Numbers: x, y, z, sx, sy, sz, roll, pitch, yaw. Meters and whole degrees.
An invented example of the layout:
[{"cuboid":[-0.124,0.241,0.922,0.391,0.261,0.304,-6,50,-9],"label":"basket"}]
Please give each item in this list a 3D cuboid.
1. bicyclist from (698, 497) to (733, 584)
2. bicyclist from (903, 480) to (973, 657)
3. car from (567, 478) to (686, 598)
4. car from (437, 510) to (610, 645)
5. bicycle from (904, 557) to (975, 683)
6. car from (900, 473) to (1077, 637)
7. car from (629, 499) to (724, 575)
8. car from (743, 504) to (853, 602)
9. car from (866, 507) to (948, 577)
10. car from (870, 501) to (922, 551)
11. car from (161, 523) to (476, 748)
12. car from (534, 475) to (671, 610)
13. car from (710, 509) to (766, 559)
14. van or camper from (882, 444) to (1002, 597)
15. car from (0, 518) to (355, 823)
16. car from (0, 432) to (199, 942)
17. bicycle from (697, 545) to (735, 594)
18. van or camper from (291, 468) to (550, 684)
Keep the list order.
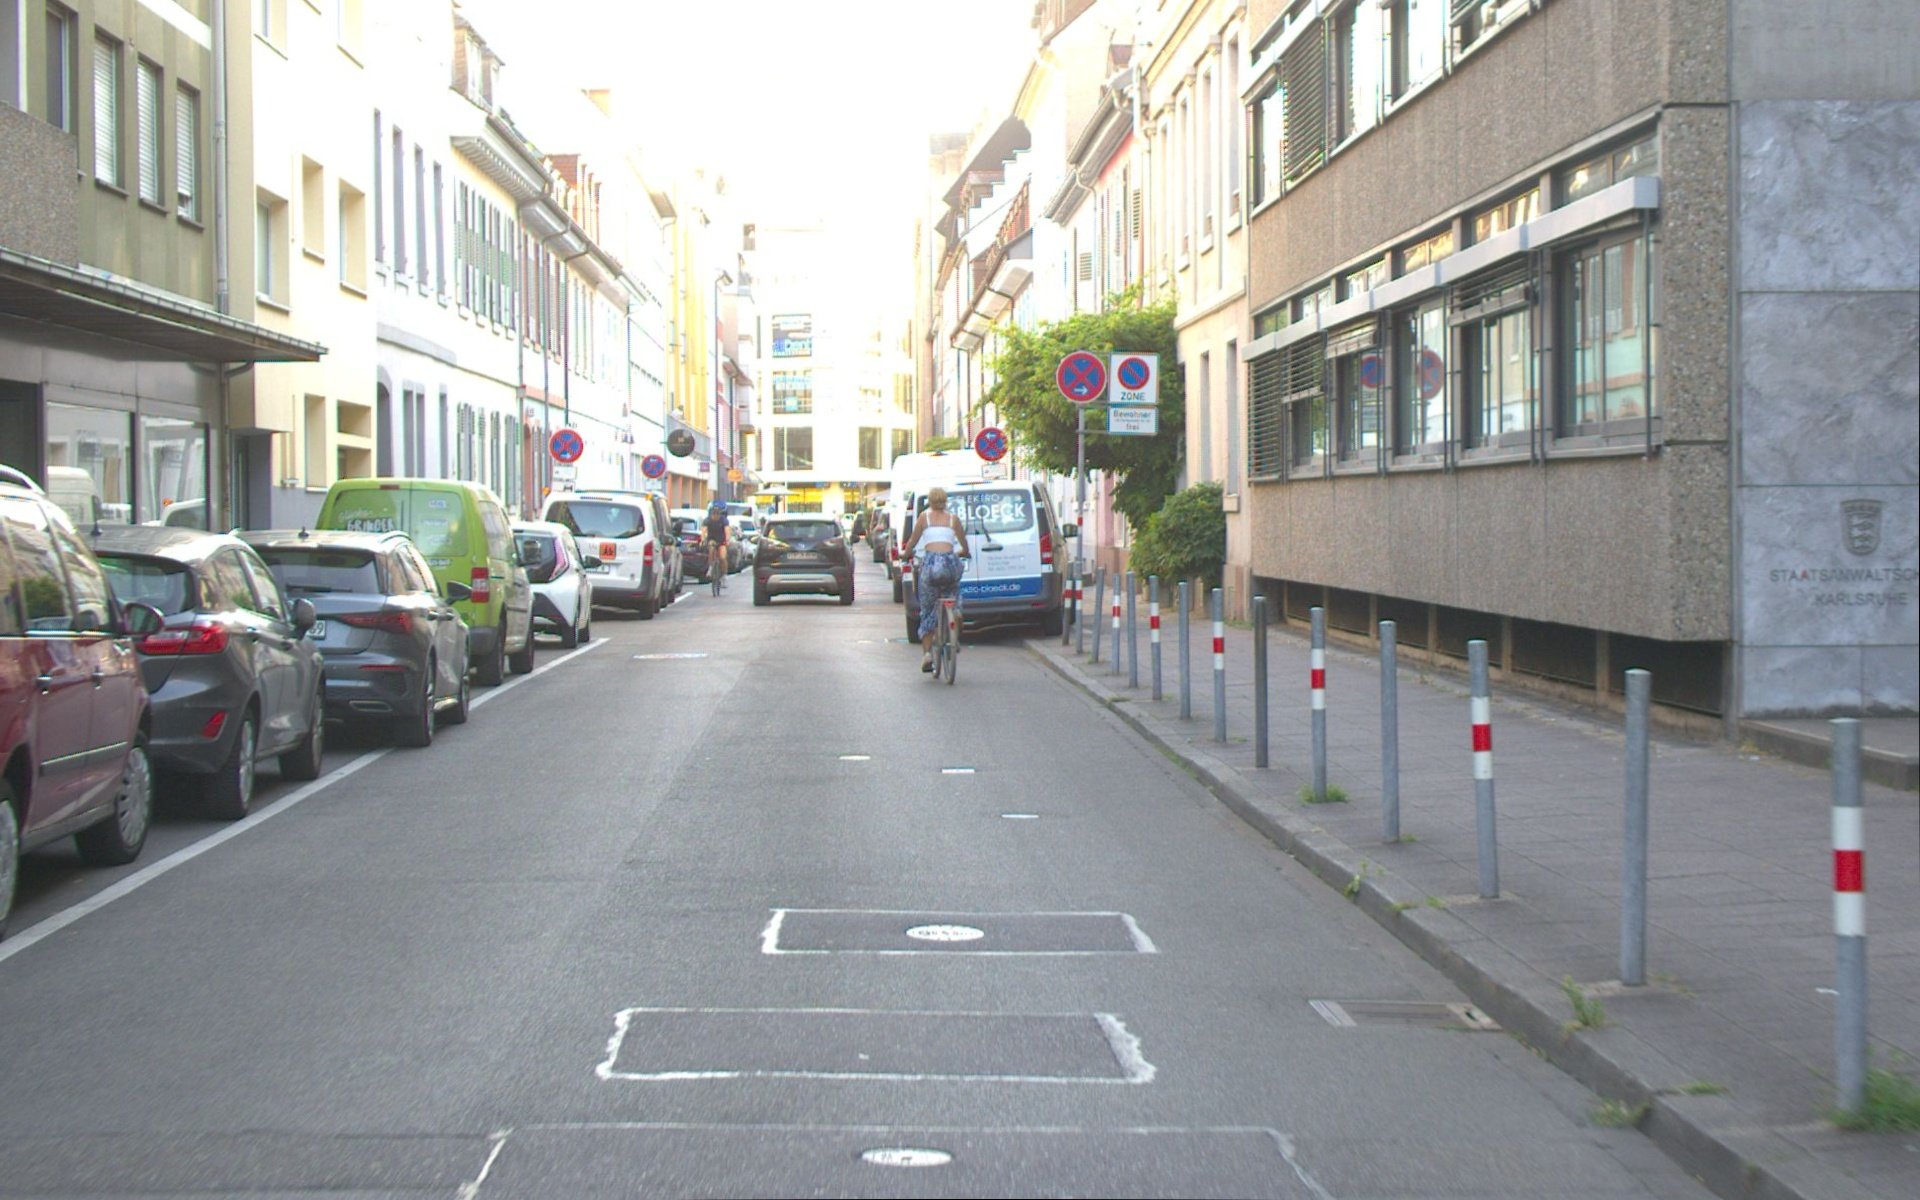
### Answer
[{"cuboid":[-4.684,-1.142,65.890,0.623,1.634,1.081,0,1,-1],"label":"bicyclist"},{"cuboid":[-0.201,-0.288,30.915,0.621,1.569,0.684,0,1,-1],"label":"bicyclist"},{"cuboid":[-5.807,-1.114,60.345,1.862,2.007,4.815,0,2,-3],"label":"car"},{"cuboid":[-5.164,-0.297,41.004,1.662,1.444,3.521,3,1,-2],"label":"car"},{"cuboid":[-0.194,0.163,30.899,0.613,1.078,1.809,0,1,-1],"label":"bicycle"},{"cuboid":[0.425,-0.599,42.804,1.936,1.891,5.276,0,2,3],"label":"car"},{"cuboid":[-6.396,-1.442,77.963,1.803,1.671,4.490,0,1,0],"label":"car"},{"cuboid":[-2.815,-0.842,60.167,1.819,1.612,4.001,1,1,-2],"label":"car"},{"cuboid":[-1.257,-1.418,82.659,1.819,1.524,5.071,-4,1,0],"label":"car"},{"cuboid":[-2.095,-2.431,112.555,1.653,1.555,3.606,1,1,-1],"label":"car"},{"cuboid":[-4.332,0.181,23.711,1.624,1.411,3.981,1,1,-3],"label":"car"},{"cuboid":[-5.554,-0.924,53.957,1.862,2.007,5.107,0,2,-3],"label":"car"},{"cuboid":[-7.227,-2.171,112.164,1.653,1.555,3.606,1,1,-1],"label":"car"},{"cuboid":[-0.354,-1.467,62.888,2.050,2.628,7.063,0,2,-1],"label":"van or camper"},{"cuboid":[-4.409,0.303,18.739,1.624,1.479,3.878,-1,1,-2],"label":"car"},{"cuboid":[-4.371,0.255,13.952,1.772,1.805,4.511,1,1,-3],"label":"car"},{"cuboid":[-4.680,-0.594,66.000,0.634,0.919,1.779,0,1,-1],"label":"bicycle"},{"cuboid":[-4.899,-0.259,31.746,1.772,1.842,4.179,-1,1,-1],"label":"van or camper"}]
